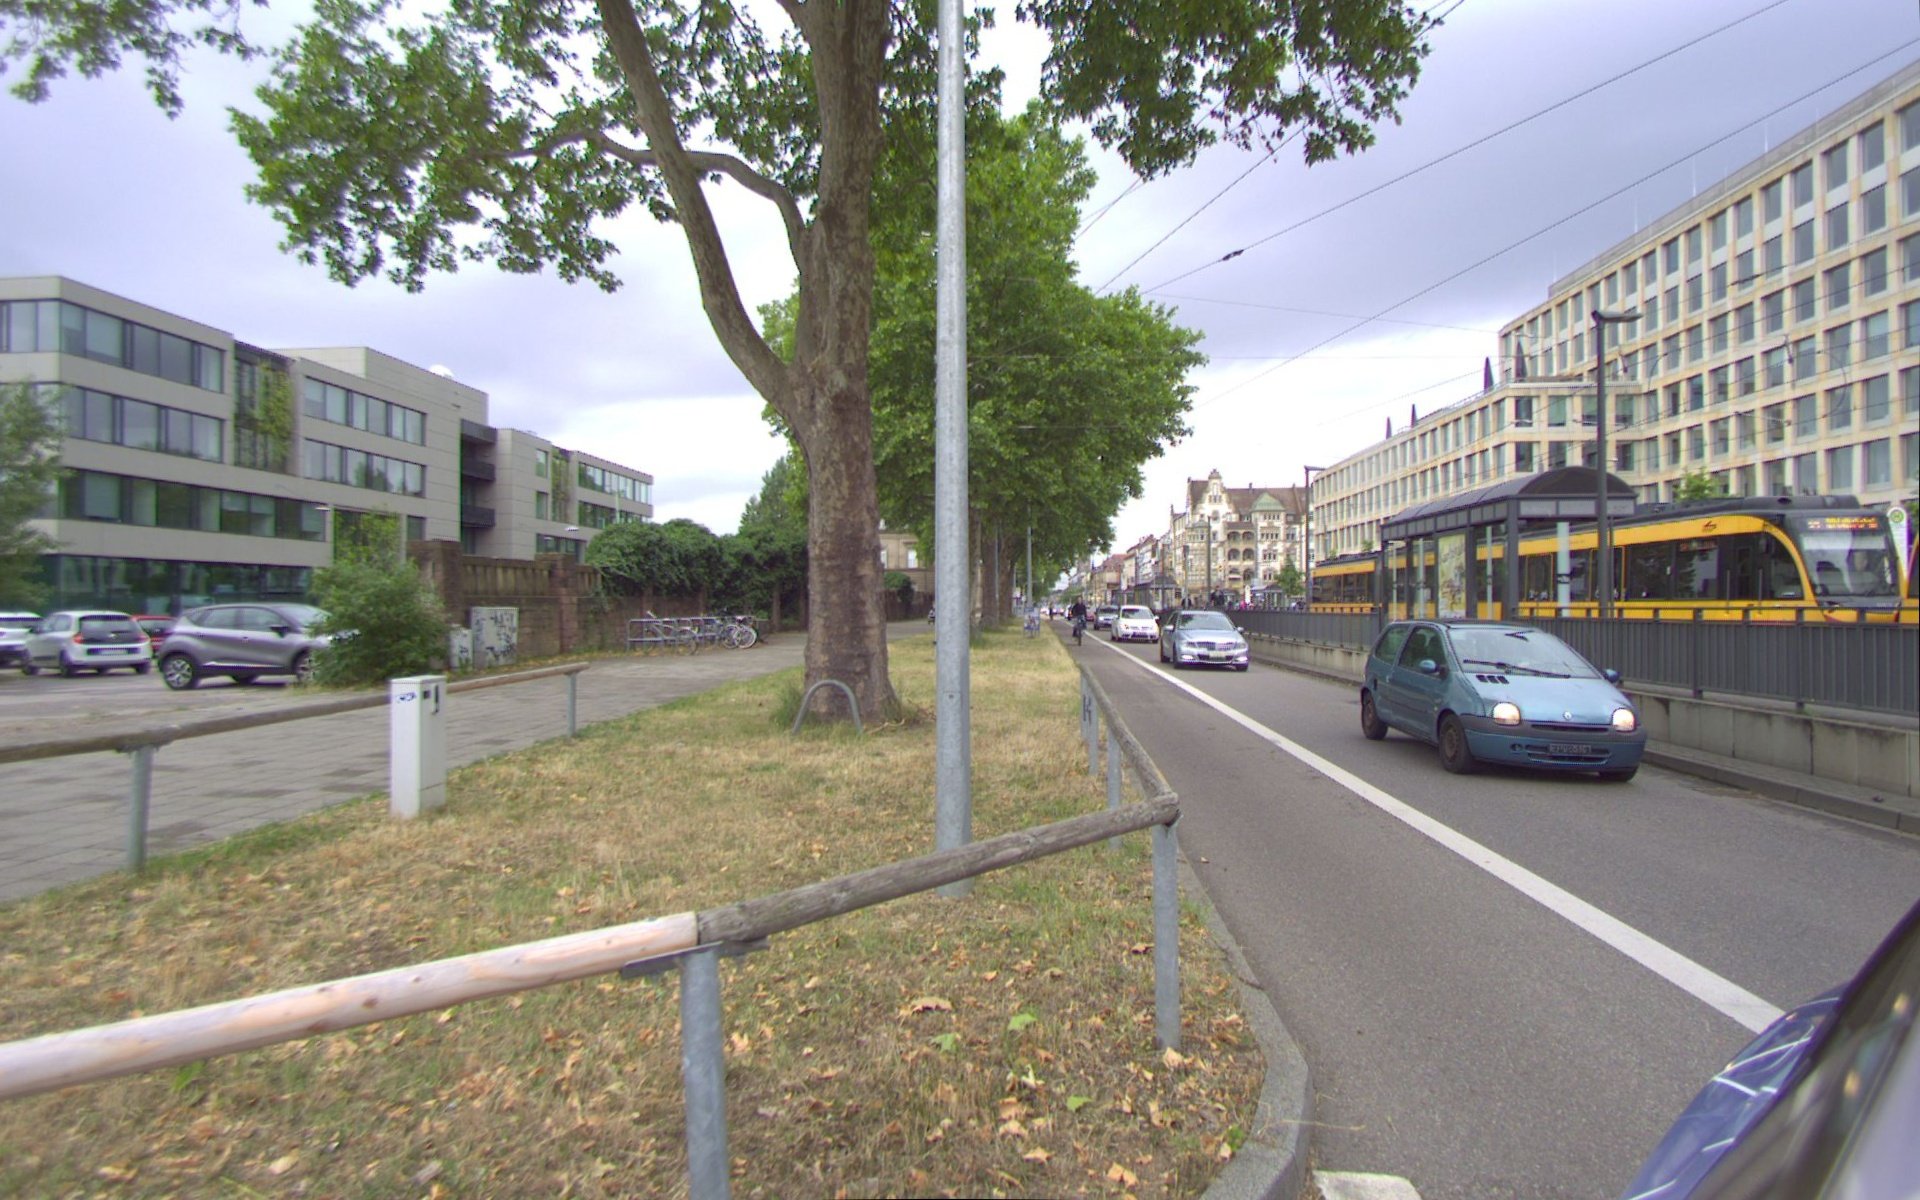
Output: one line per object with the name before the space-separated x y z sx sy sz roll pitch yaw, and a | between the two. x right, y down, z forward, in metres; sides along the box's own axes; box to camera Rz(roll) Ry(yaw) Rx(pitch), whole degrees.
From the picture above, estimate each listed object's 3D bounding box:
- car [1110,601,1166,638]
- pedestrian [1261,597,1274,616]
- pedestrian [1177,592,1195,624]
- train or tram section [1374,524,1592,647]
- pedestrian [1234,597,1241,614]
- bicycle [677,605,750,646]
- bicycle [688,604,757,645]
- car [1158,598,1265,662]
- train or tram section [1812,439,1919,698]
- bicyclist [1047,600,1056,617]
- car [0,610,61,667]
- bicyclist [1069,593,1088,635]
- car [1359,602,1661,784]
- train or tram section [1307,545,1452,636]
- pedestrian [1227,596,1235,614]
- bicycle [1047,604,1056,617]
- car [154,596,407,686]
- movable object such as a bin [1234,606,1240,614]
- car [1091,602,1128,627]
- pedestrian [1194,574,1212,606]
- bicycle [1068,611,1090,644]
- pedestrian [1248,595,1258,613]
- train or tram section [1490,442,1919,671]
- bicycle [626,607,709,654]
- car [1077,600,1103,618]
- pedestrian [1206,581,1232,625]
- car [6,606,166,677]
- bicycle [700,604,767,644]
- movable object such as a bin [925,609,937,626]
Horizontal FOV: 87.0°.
car | 7.510 0.783 43.128 1.964 1.470 4.095 0 0 5
pedestrian | 27.685 0.556 91.114 1.024 1.707 0.937 0 0 8
pedestrian | 12.794 0.453 57.295 0.659 1.816 1.114 0 0 -4
train or tram section | 19.025 -0.516 37.994 3.117 3.910 11.297 0 0 5
pedestrian | 26.141 0.519 95.361 0.529 1.627 0.563 0 0 12
bicycle | -7.050 0.717 28.984 1.945 1.108 0.549 1 0 4
bicycle | -6.942 0.712 29.615 1.872 1.111 0.549 1 0 4
car | 6.207 0.686 25.467 1.964 1.470 4.095 0 0 5
train or tram section | 16.845 -0.475 11.374 3.134 4.231 14.715 0 0 5
bicyclist | 8.754 0.772 97.009 0.798 1.620 1.189 0 0 2
car | -28.717 1.119 30.108 3.970 1.571 1.977 0 0 33
bicyclist | 4.440 0.506 37.963 0.631 1.550 0.664 0 0 3
car | 5.376 0.796 10.373 1.509 1.491 3.348 1 0 6
train or tram section | 19.995 -0.433 49.268 3.190 3.910 11.297 0 0 5
pedestrian | 27.483 0.536 102.653 0.577 1.792 0.598 0 0 -32
bicycle | 8.765 1.006 96.888 0.800 1.184 2.275 0 0 3
car | -12.854 0.749 19.276 3.710 1.599 1.749 -1 0 3
movable object such as a bin | 26.236 0.984 95.865 0.529 0.757 0.467 0 0 12
car | 9.088 0.846 61.704 1.964 1.470 4.095 0 0 5
pedestrian | 14.055 -0.561 58.487 0.658 1.816 1.115 0 0 -8
bicycle | 4.464 1.009 37.973 0.642 1.164 2.281 0 0 3
pedestrian | 27.254 0.374 94.177 0.567 1.627 0.658 0 0 -28
train or tram section | 18.001 -0.857 25.523 3.134 4.231 13.603 0 0 5
bicycle | -7.229 0.748 25.047 1.893 1.105 0.549 1 0 4
car | 10.874 0.742 84.638 1.964 1.470 4.095 0 0 5
pedestrian | 12.372 0.141 48.349 1.043 2.039 0.839 0 0 5
car | -21.630 0.968 25.025 3.970 1.571 1.977 0 0 33
bicycle | -6.756 0.721 30.236 1.862 1.119 0.549 1 0 4
movable object such as a bin | -1.972 1.156 68.373 0.604 1.126 1.011 0 -1 10
